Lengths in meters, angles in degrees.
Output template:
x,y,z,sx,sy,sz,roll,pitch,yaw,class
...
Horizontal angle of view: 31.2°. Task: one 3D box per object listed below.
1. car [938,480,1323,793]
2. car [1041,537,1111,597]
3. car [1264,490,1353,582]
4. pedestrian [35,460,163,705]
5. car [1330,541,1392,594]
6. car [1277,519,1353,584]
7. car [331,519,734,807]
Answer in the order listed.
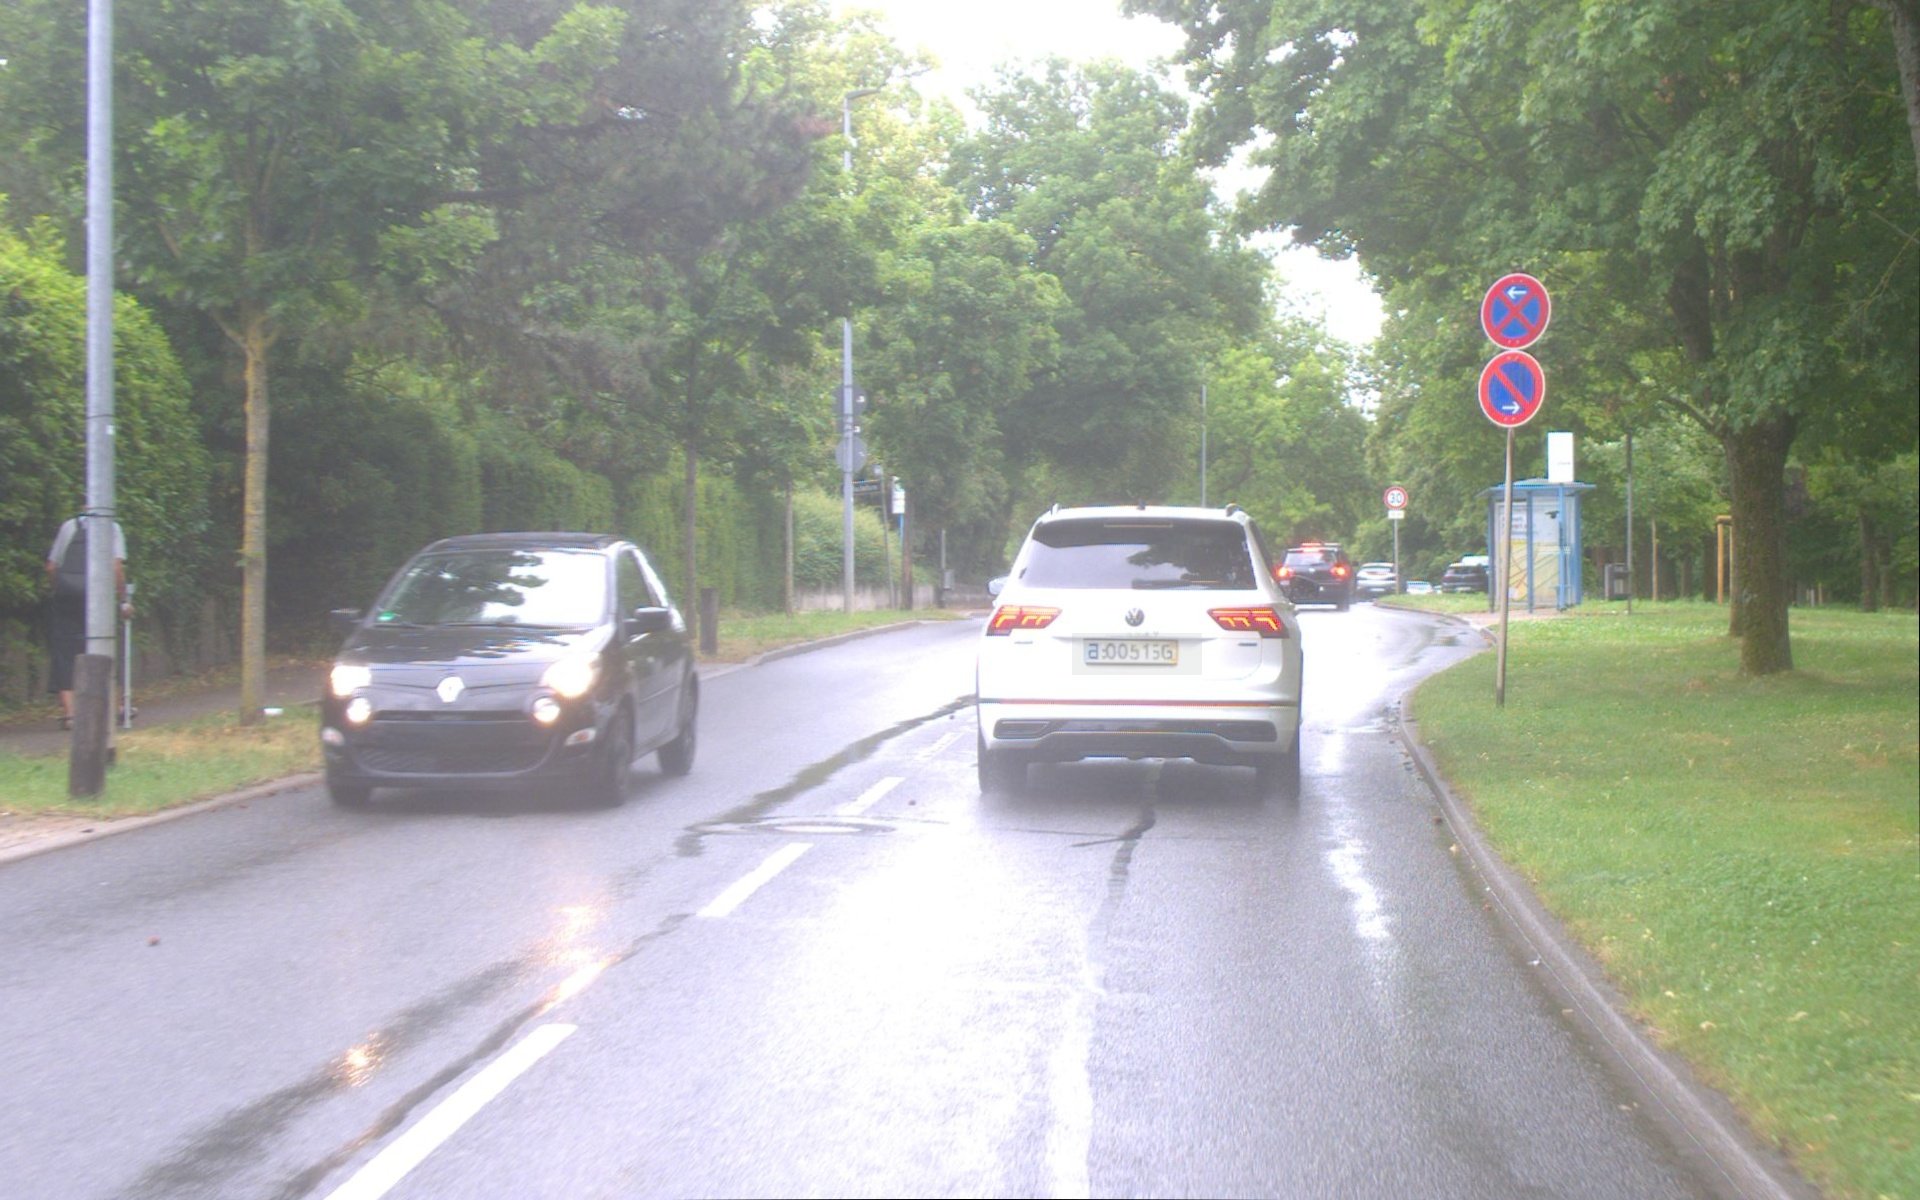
x,y,z,sx,sy,sz,roll,pitch,yaw,class
1.123,0.147,20.456,1.974,1.647,4.176,1,1,7,car
3.697,-1.031,109.033,1.994,1.756,3.999,2,0,4,car
8.178,-1.475,80.910,1.901,2.007,3.944,2,0,4,car
-5.941,-0.128,23.757,0.777,1.656,0.843,0,1,-9,pedestrian
14.655,-1.169,125.804,1.994,1.798,3.999,2,0,4,car
10.352,-1.394,100.469,1.994,1.753,3.999,2,0,4,car
-2.362,0.286,19.900,1.583,1.472,3.896,-1,2,4,car
